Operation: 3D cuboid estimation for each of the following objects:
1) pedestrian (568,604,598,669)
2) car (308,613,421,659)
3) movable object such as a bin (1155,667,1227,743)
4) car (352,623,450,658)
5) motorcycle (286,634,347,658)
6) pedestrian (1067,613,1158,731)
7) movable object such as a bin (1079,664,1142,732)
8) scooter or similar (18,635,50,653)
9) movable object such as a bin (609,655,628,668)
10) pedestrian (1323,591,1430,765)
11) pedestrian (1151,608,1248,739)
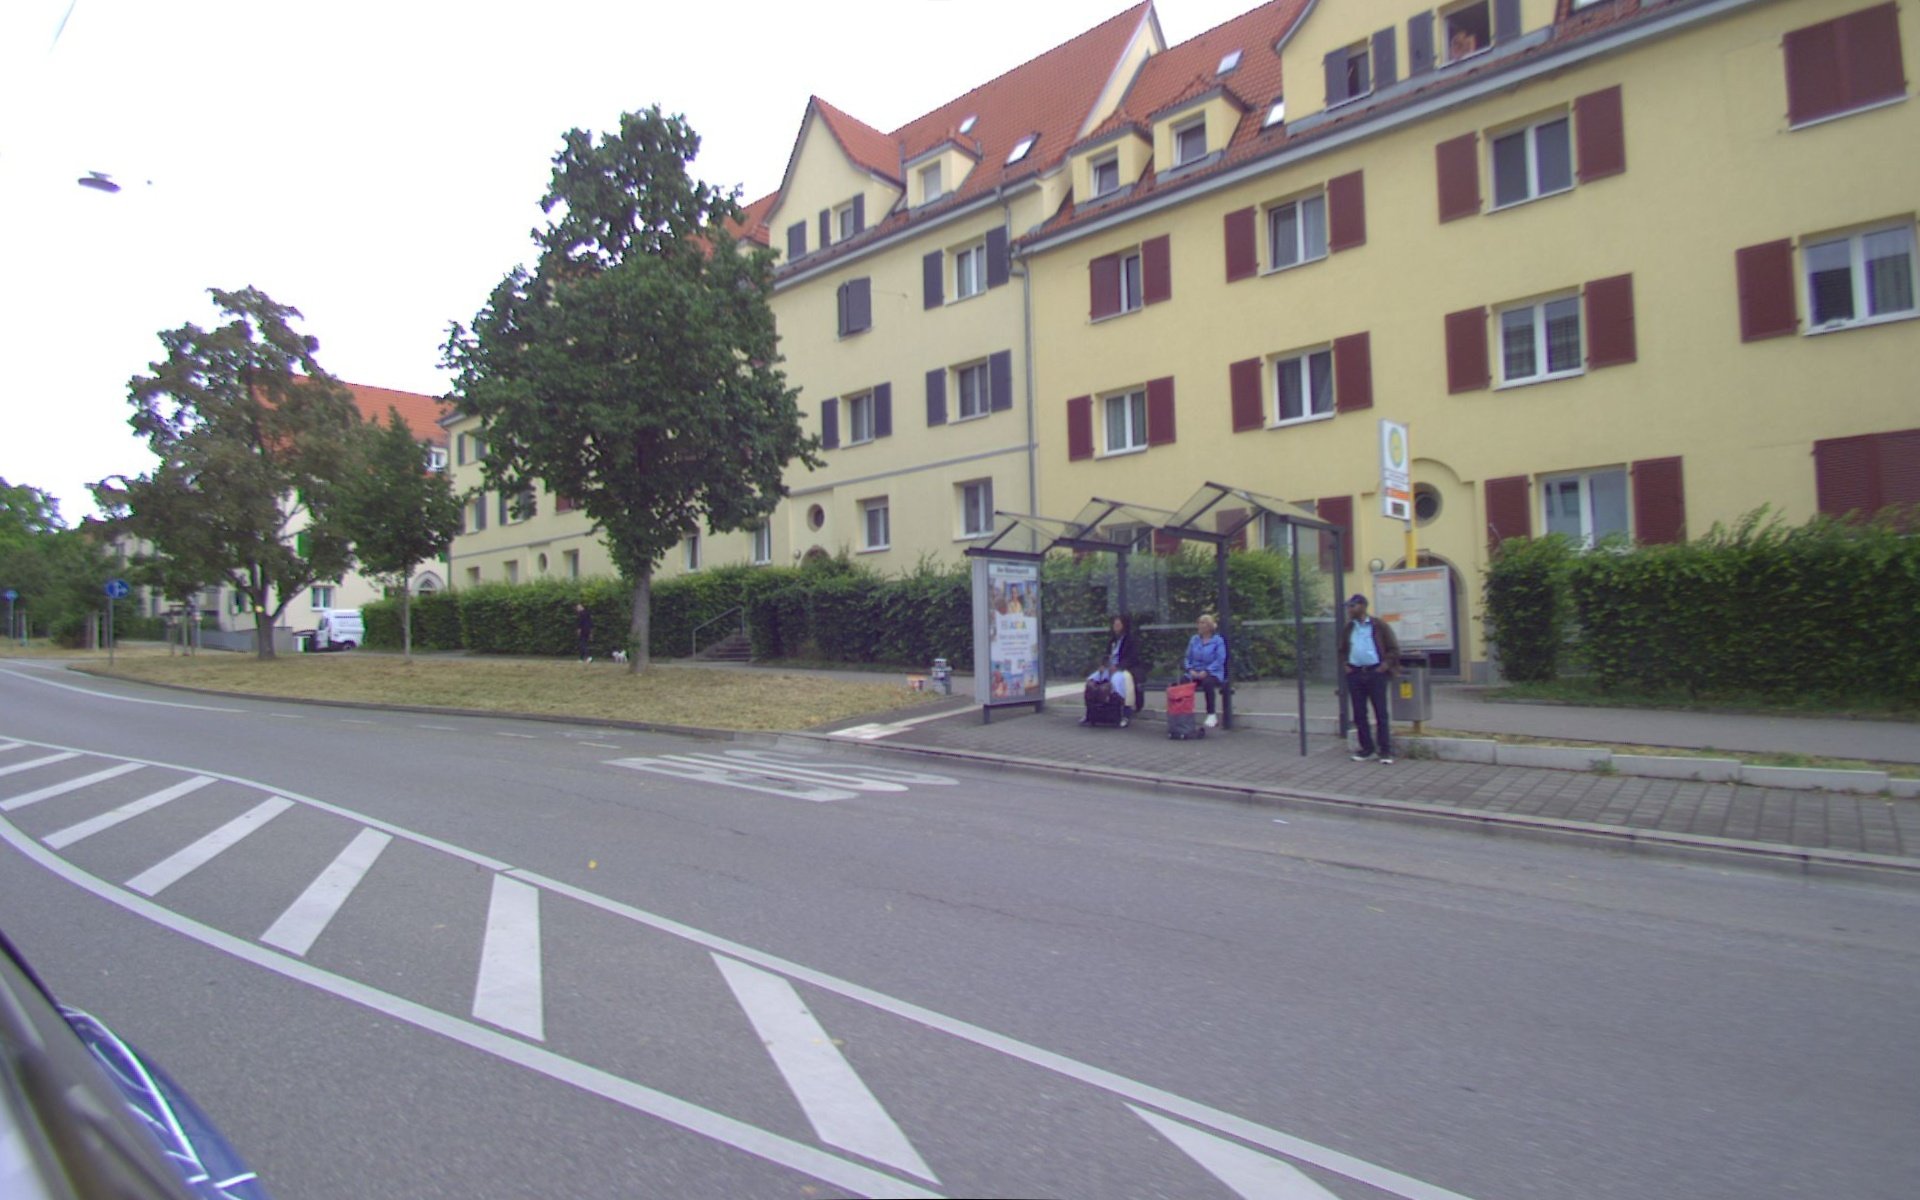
[{"bbox_3d":[-10.630,1.021,28.531,0.753,1.793,0.508,-2,-2,41],"label":"pedestrian"},{"bbox_3d":[-31.050,1.859,52.888,1.994,2.270,4.668,-1,-2,41],"label":"car"},{"bbox_3d":[2.822,1.268,12.377,0.665,0.852,0.531,-2,-1,42],"label":"movable object such as a bin"},{"bbox_3d":[-27.382,1.970,49.625,1.689,1.542,3.865,-6,-5,40],"label":"car"},{"bbox_3d":[-34.387,2.456,54.149,2.561,1.288,1.020,1,-2,-16],"label":"motorcycle"},{"bbox_3d":[2.017,0.923,13.390,0.806,1.485,0.890,-2,-1,41],"label":"pedestrian"},{"bbox_3d":[1.974,1.268,13.273,0.665,0.832,0.459,-2,-1,42],"label":"movable object such as a bin"},{"bbox_3d":[-56.634,2.682,61.892,0.466,1.094,1.357,-2,-3,36],"label":"scooter or similar"},{"bbox_3d":[-9.827,1.764,29.148,0.303,0.350,0.582,1,-2,-44],"label":"movable object such as a bin"},{"bbox_3d":[4.375,0.793,10.647,0.861,1.740,0.590,-2,-1,44],"label":"pedestrian"},{"bbox_3d":[2.954,0.877,12.473,0.806,1.521,0.890,-2,-1,41],"label":"pedestrian"}]
